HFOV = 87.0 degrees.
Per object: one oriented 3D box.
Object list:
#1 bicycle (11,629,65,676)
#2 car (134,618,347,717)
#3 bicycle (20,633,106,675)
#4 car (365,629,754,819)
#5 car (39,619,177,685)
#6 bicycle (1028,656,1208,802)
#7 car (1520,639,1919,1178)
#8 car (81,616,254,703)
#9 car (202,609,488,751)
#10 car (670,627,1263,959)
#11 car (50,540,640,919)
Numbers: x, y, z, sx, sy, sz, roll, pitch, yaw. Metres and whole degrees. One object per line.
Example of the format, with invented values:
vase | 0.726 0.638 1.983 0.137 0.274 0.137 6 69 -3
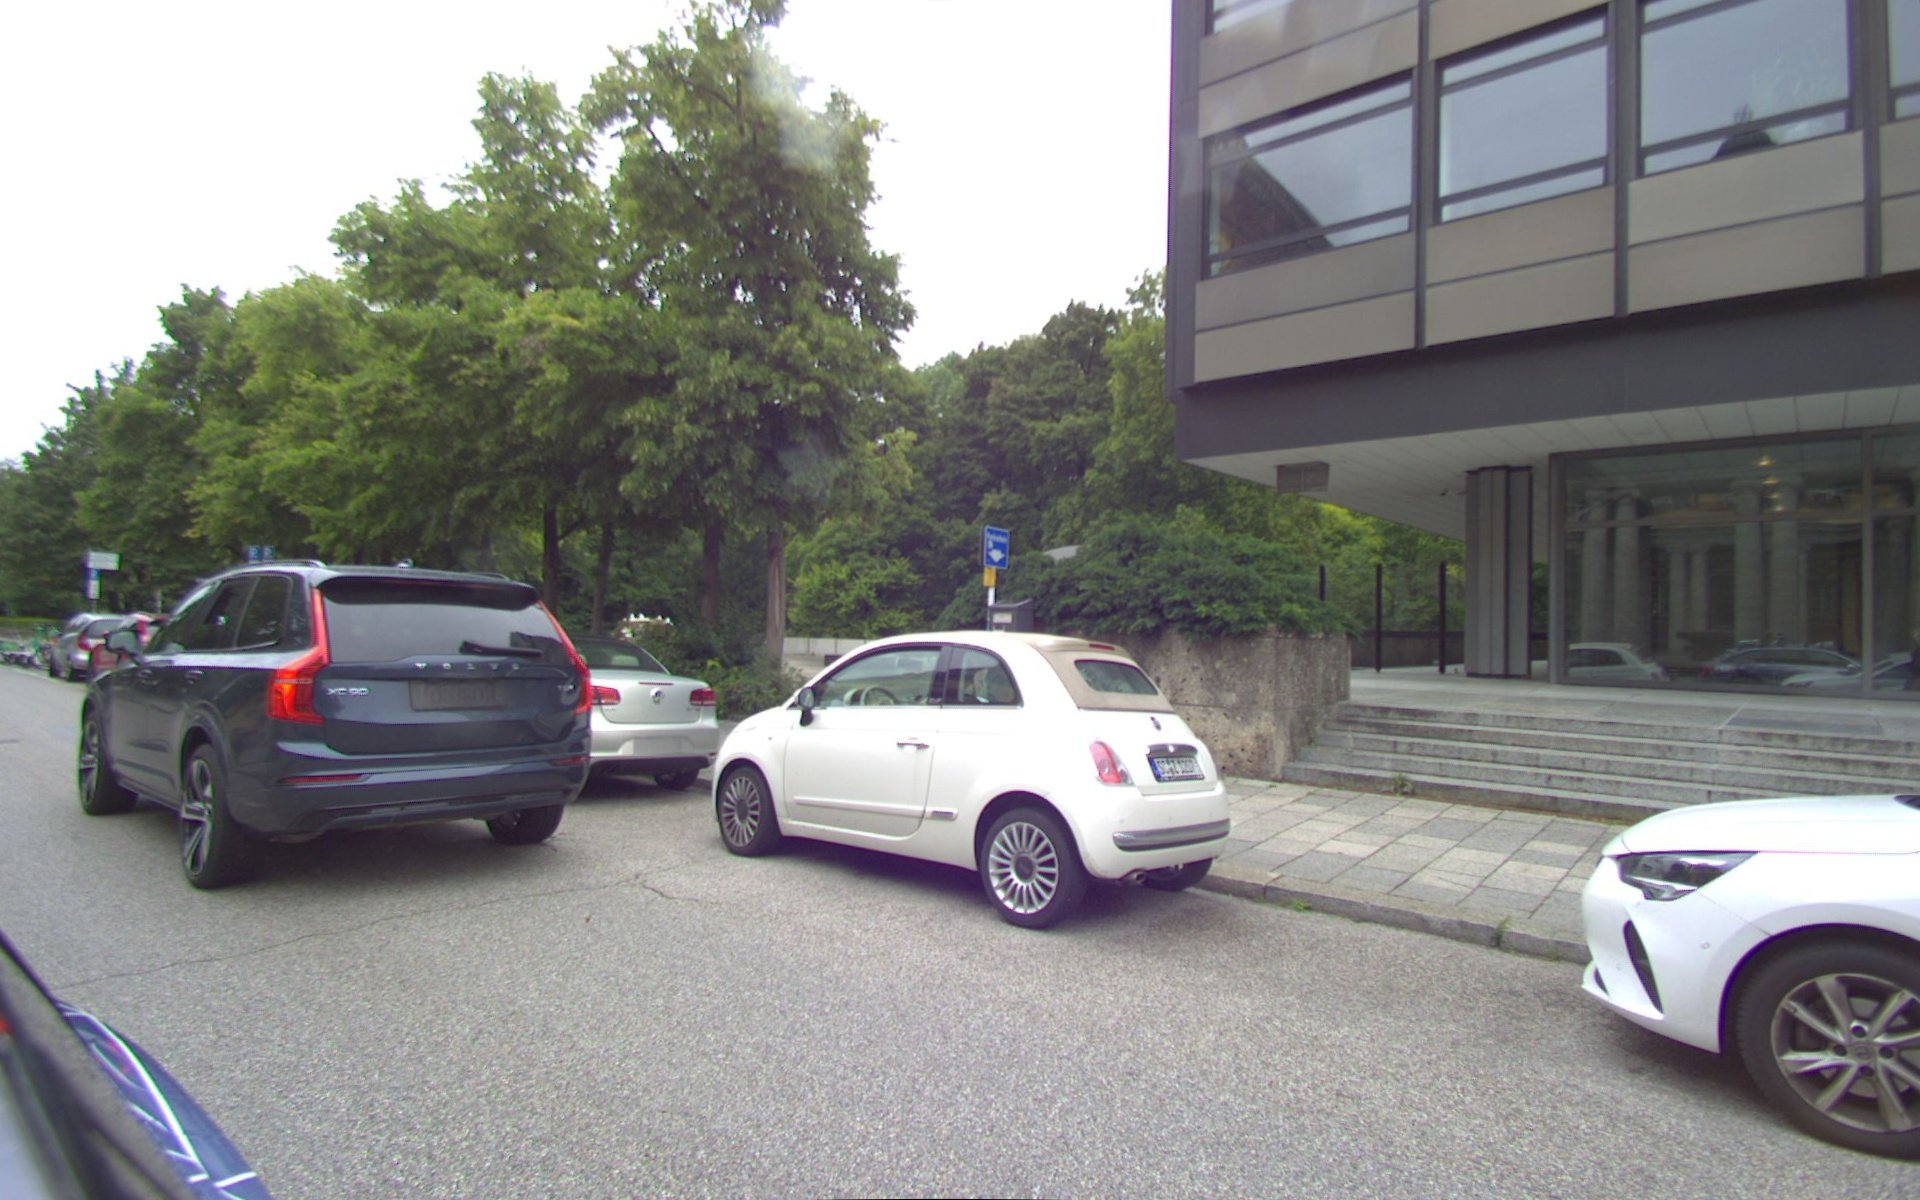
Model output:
bicycle | -26.473 1.483 29.077 0.566 1.292 1.423 0 -1 -17
car | -12.365 1.080 17.269 4.646 1.472 1.972 -1 -4 42
bicycle | -25.099 1.499 28.334 0.597 1.116 1.681 0 -2 32
car | -3.995 1.055 9.733 4.217 1.411 1.739 -1 -6 43
car | -20.937 1.233 24.815 4.363 1.472 1.972 -1 -4 42
bicycle | 1.437 1.141 9.345 1.526 1.173 0.636 -1 -1 40
car | 4.049 0.906 2.646 4.278 1.451 1.663 -1 -5 42
car | -15.999 1.140 20.351 4.363 1.555 1.972 -1 -4 42
car | -8.386 0.979 13.644 4.519 1.595 1.973 -1 -3 41
car | -0.119 0.949 6.338 3.551 1.482 1.527 -1 -5 41
car | -4.427 0.666 6.894 4.909 1.694 1.940 -1 -4 41
